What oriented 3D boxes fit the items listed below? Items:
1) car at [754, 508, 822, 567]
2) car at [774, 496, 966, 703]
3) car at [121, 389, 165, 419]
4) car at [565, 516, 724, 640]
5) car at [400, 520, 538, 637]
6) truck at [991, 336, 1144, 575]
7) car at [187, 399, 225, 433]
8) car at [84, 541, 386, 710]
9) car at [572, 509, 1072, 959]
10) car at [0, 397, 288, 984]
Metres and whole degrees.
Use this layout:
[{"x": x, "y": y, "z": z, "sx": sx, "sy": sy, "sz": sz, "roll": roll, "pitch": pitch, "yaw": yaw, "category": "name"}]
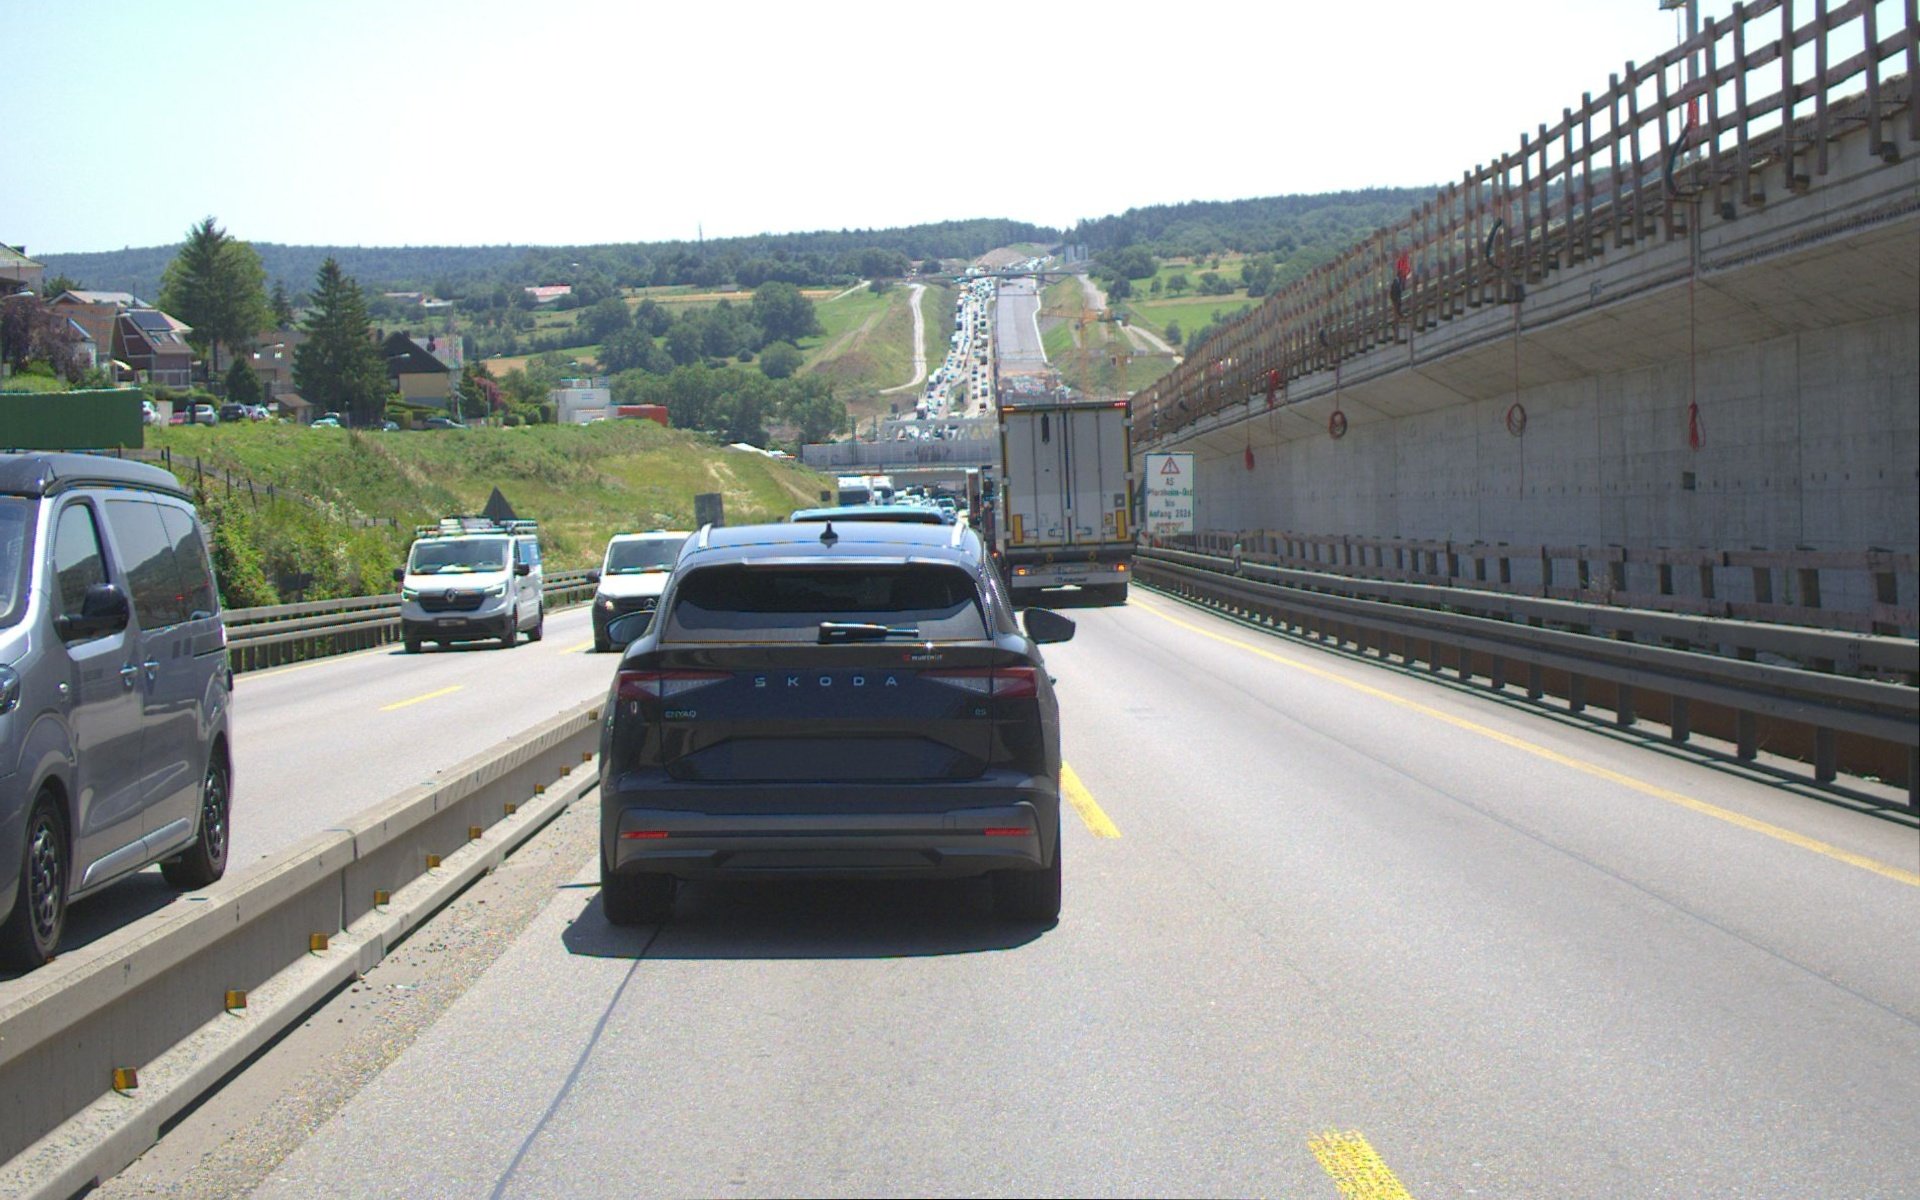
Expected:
[{"x": -4.874, "y": -1.771, "z": 97.975, "sx": 1.774, "sy": 1.628, "sz": 4.100, "roll": -1, "pitch": 1, "yaw": -1, "category": "car"}, {"x": -0.905, "y": -0.032, "z": 33.522, "sx": 1.749, "sy": 1.889, "sz": 3.755, "roll": 0, "pitch": 1, "yaw": -2, "category": "car"}, {"x": -42.248, "y": -10.151, "z": 177.895, "sx": 1.993, "sy": 1.315, "sz": 4.001, "roll": 1, "pitch": 0, "yaw": -11, "category": "car"}, {"x": -5.034, "y": -0.353, "z": 55.535, "sx": 2.157, "sy": 1.899, "sz": 5.326, "roll": 0, "pitch": 0, "yaw": -1, "category": "car"}, {"x": -8.415, "y": -0.397, "z": 59.285, "sx": 1.825, "sy": 1.919, "sz": 5.244, "roll": 0, "pitch": 1, "yaw": -2, "category": "car"}, {"x": 2.153, "y": -2.855, "z": 72.830, "sx": 2.846, "sy": 4.599, "sz": 11.811, "roll": -1, "pitch": 0, "yaw": 0, "category": "truck"}, {"x": -43.366, "y": -10.585, "z": 197.707, "sx": 1.924, "sy": 1.722, "sz": 4.001, "roll": -2, "pitch": 1, "yaw": -10, "category": "car"}, {"x": -6.727, "y": 0.208, "z": 32.366, "sx": 1.993, "sy": 1.437, "sz": 4.364, "roll": 1, "pitch": 0, "yaw": -2, "category": "car"}, {"x": -0.545, "y": 0.463, "z": 14.534, "sx": 1.782, "sy": 1.592, "sz": 3.755, "roll": -2, "pitch": 1, "yaw": -1, "category": "car"}, {"x": -4.256, "y": 0.311, "z": 14.219, "sx": 1.993, "sy": 2.007, "sz": 4.969, "roll": -1, "pitch": 0, "yaw": -1, "category": "car"}]
